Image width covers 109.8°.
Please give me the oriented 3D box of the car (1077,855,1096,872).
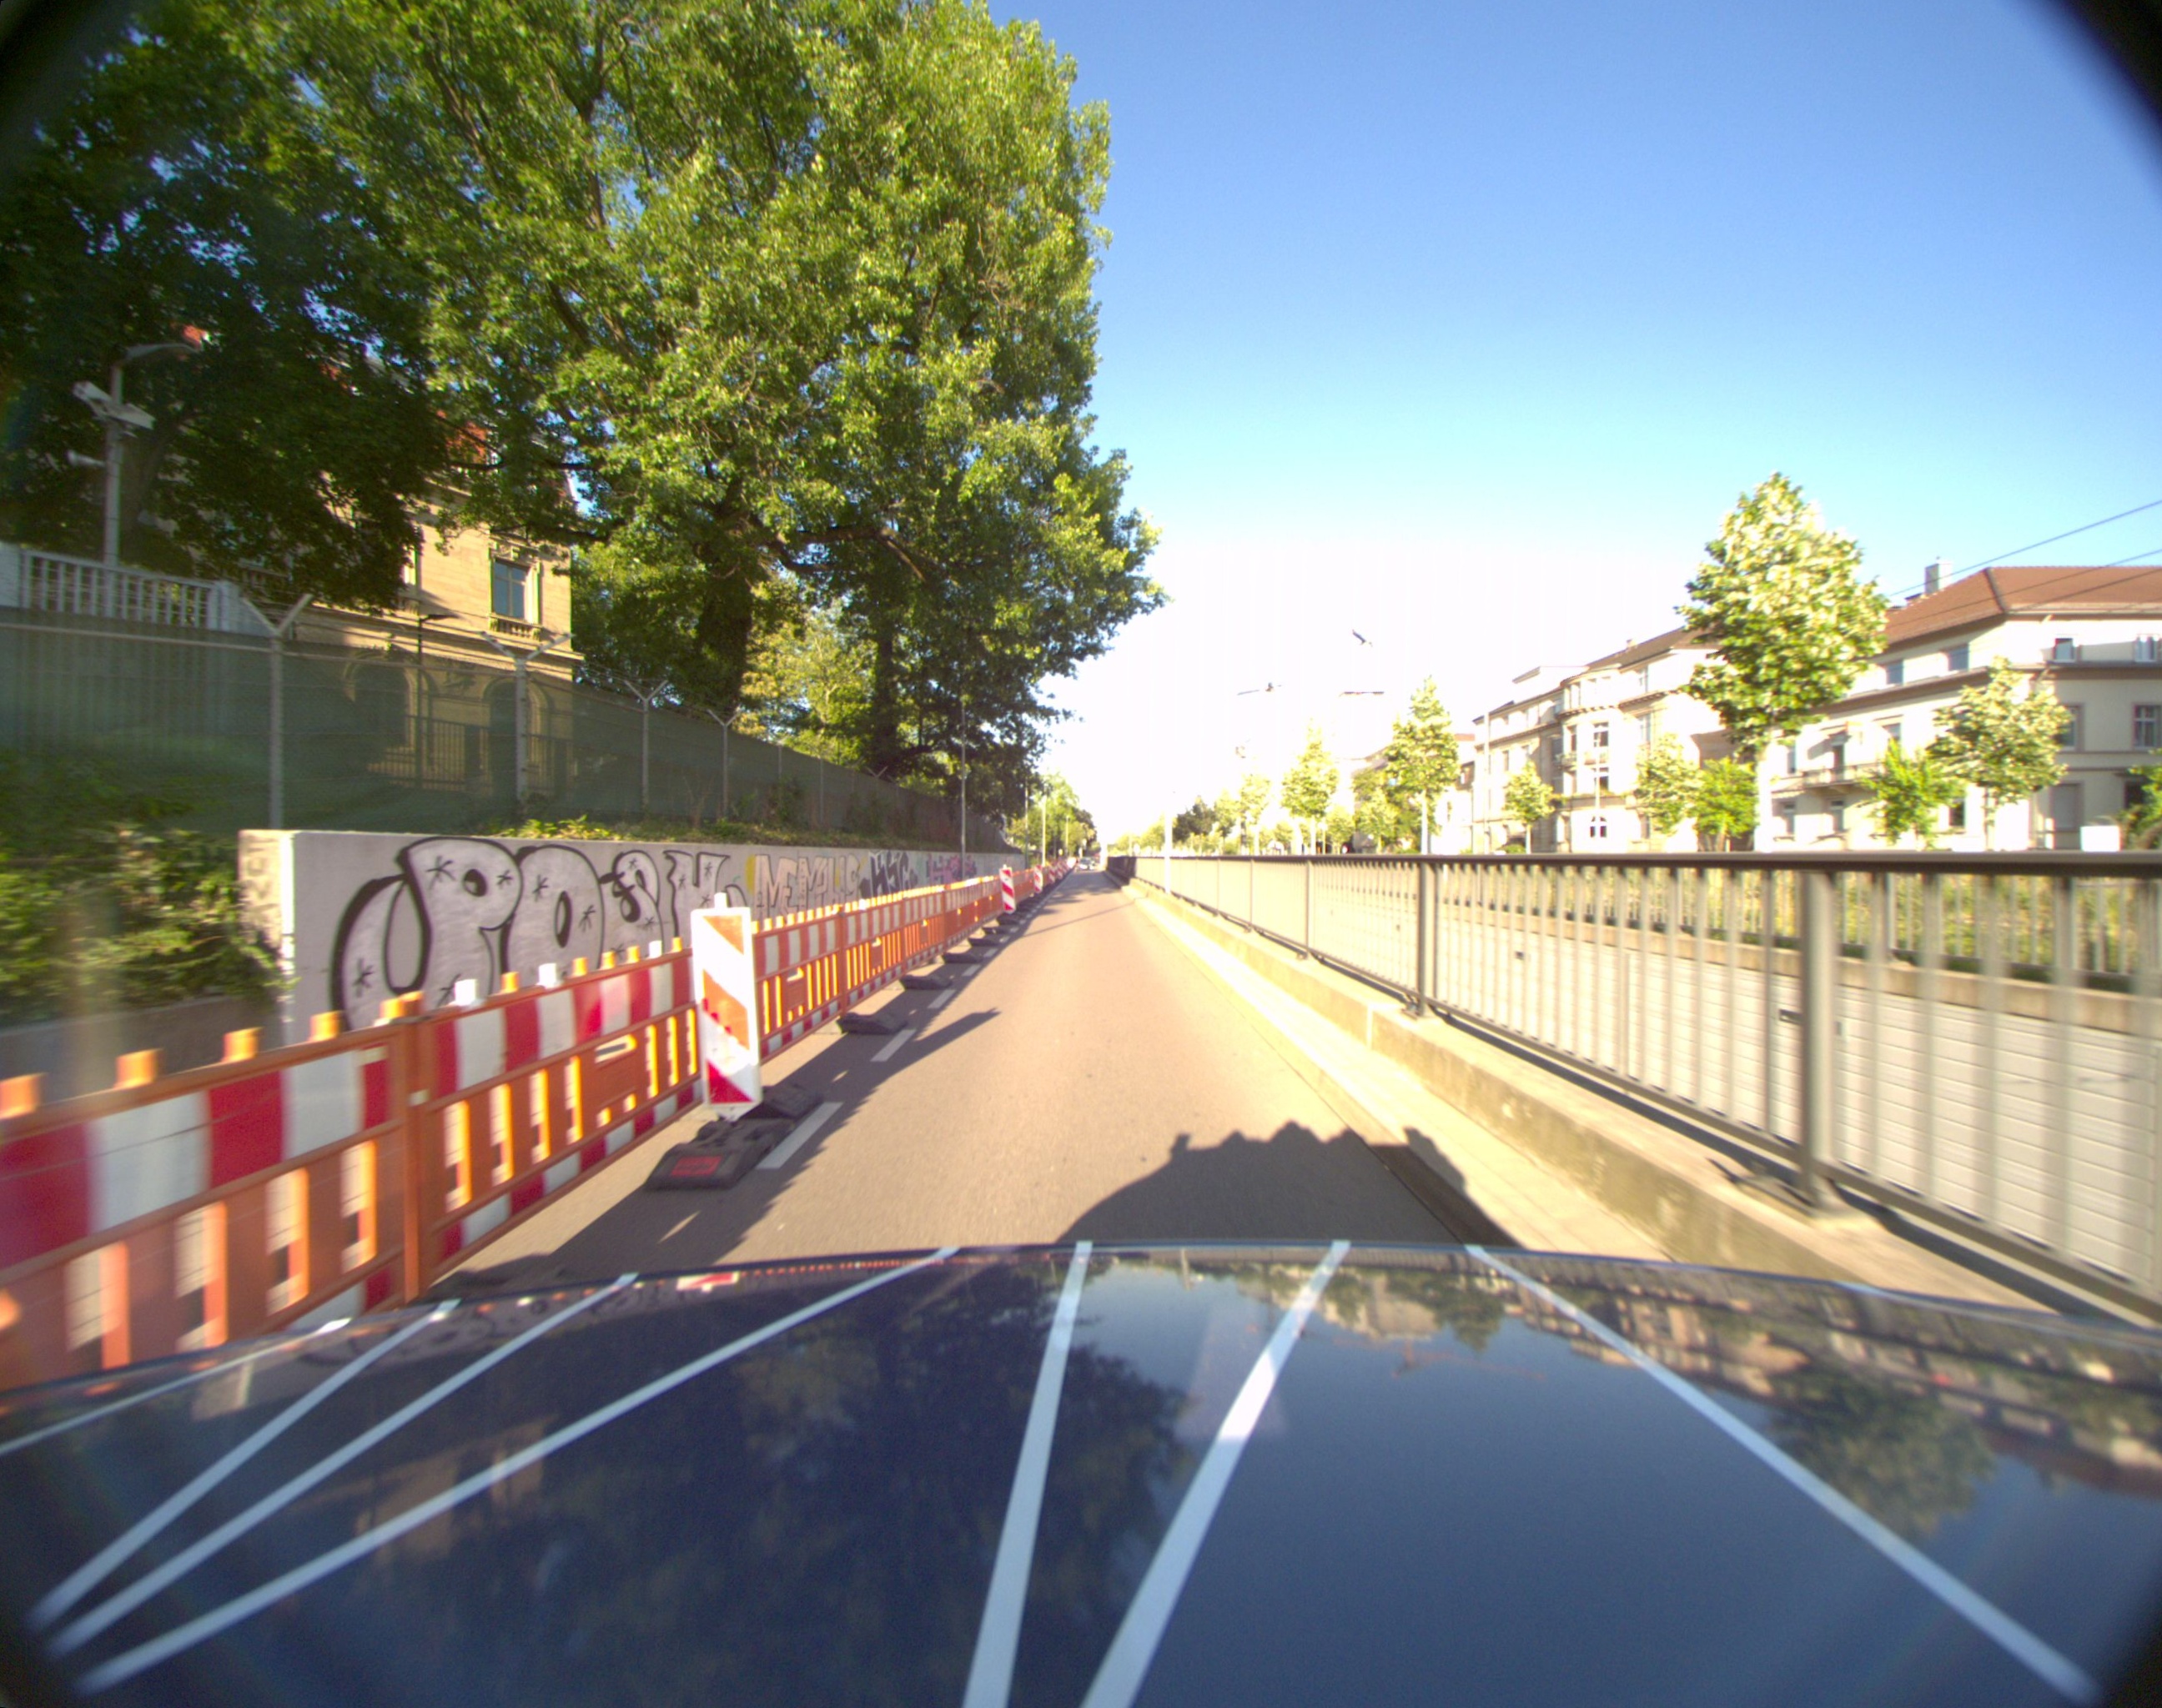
[{"bbox_3d":[0.655,1.022,85.077,2.080,1.827,4.000,0,0,1],"label":"car"}]
